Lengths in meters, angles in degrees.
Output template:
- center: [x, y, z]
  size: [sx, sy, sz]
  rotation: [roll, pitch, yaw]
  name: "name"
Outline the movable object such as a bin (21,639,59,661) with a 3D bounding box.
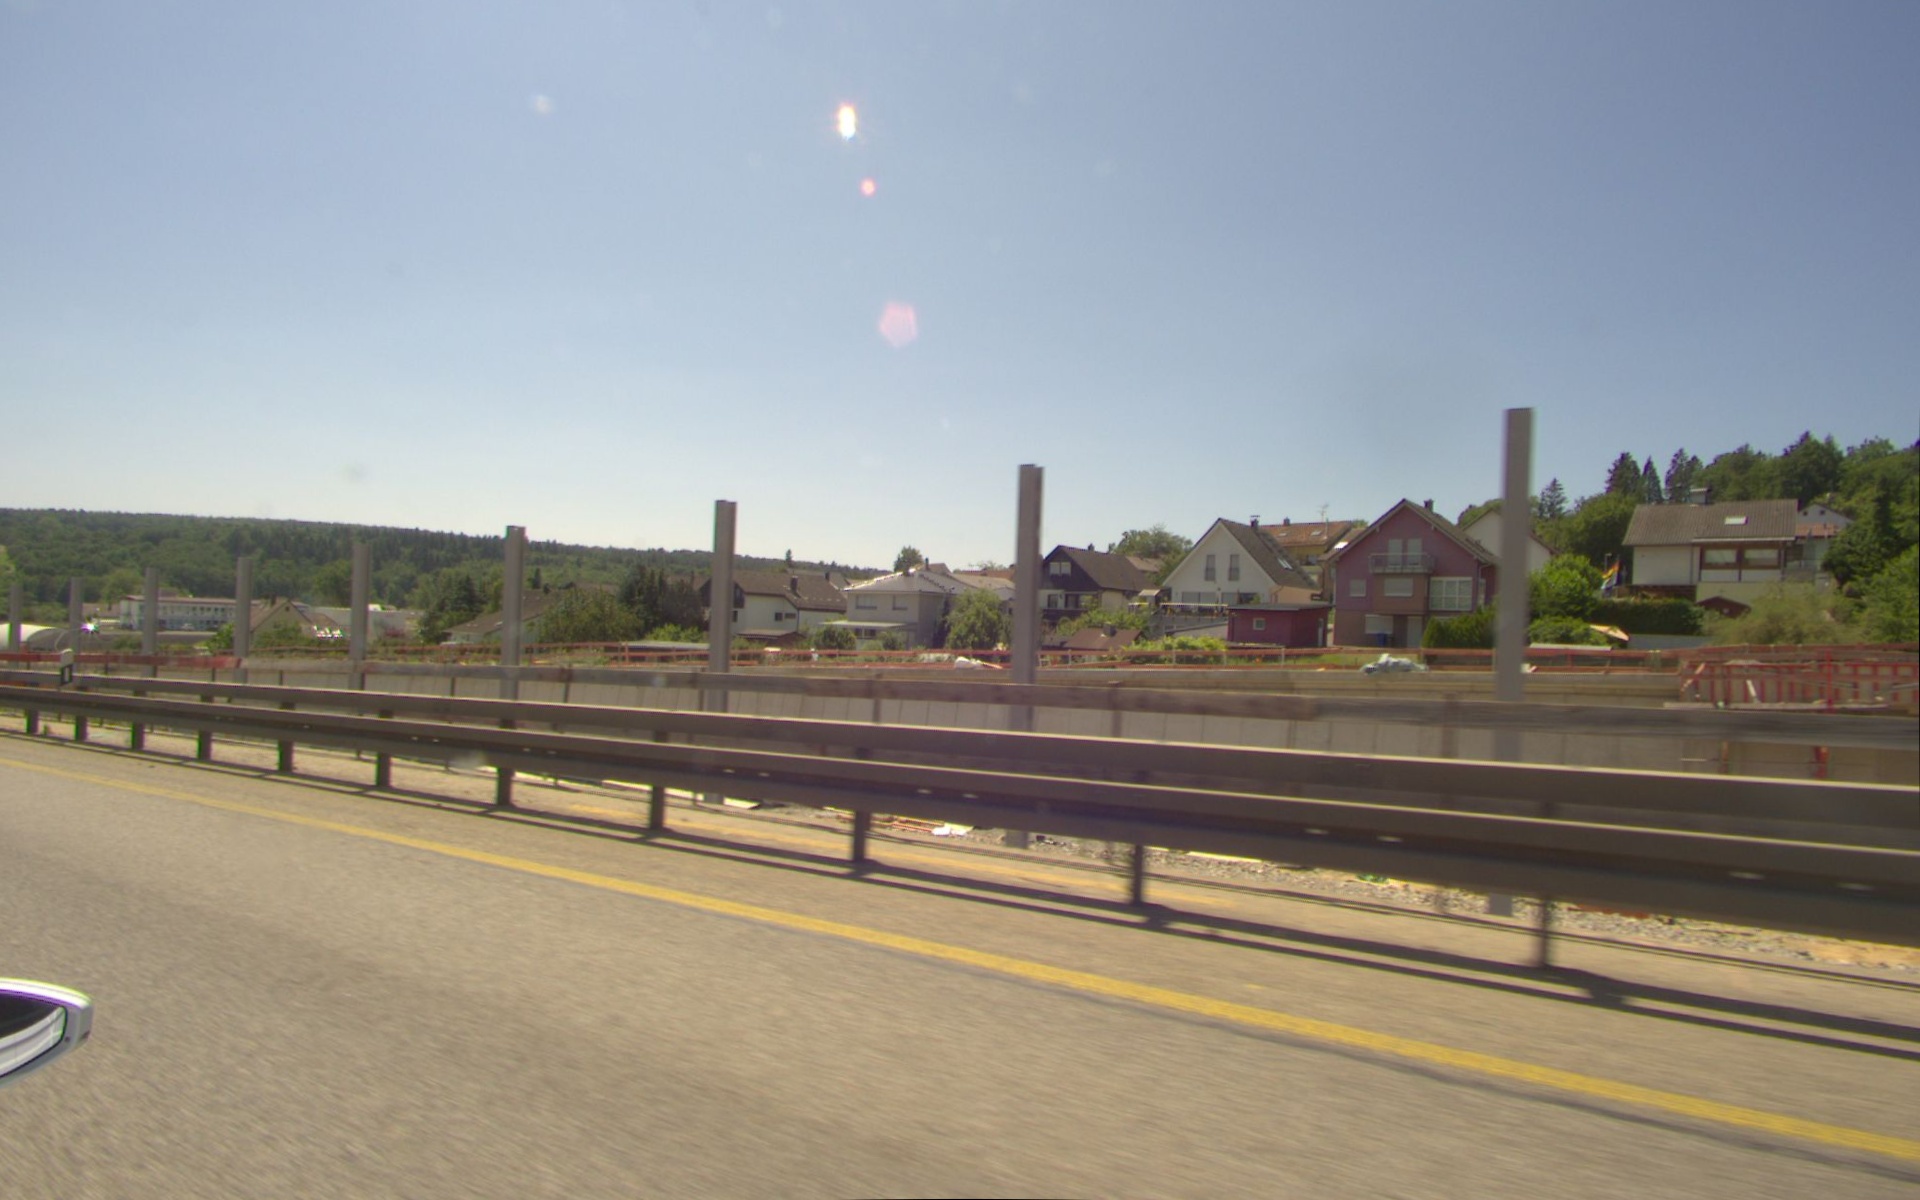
- center: [-95.050, 5.130, 103.446]
  size: [4.094, 2.267, 1.990]
  rotation: [-2, -2, 33]
  name: "movable object such as a bin"
